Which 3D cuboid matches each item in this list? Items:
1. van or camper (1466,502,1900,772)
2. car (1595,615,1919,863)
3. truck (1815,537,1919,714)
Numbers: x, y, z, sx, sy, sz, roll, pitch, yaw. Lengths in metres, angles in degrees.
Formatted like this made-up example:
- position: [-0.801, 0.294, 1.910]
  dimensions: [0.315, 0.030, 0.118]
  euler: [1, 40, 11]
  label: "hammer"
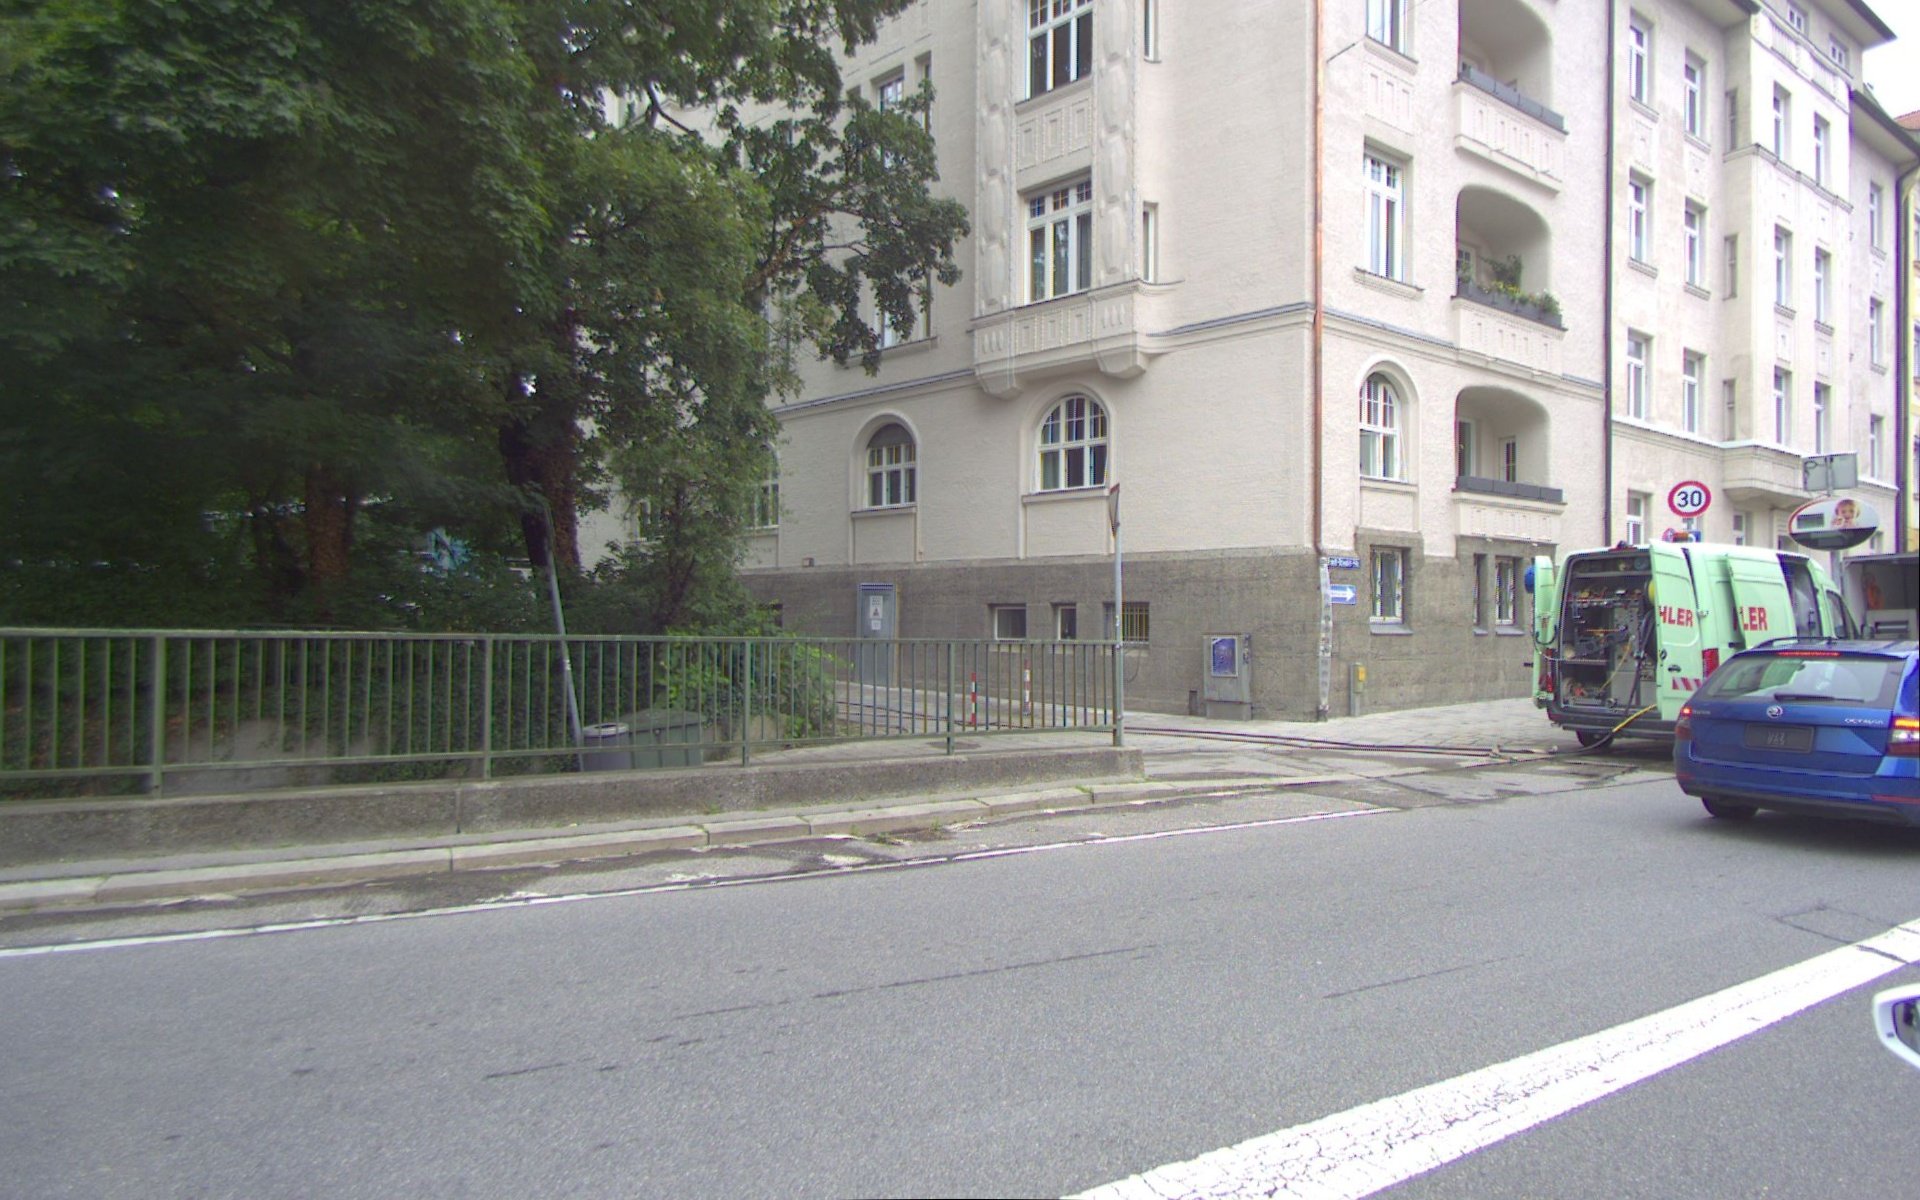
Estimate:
- position: [9.775, 0.427, 13.427]
  dimensions: [6.116, 2.878, 2.587]
  euler: [0, -1, -32]
  label: "van or camper"
- position: [7.418, 0.936, 7.892]
  dimensions: [4.672, 1.473, 1.981]
  euler: [2, -3, -26]
  label: "car"
- position: [18.815, 0.438, 18.407]
  dimensions: [7.120, 2.911, 2.759]
  euler: [0, -1, -32]
  label: "truck"
